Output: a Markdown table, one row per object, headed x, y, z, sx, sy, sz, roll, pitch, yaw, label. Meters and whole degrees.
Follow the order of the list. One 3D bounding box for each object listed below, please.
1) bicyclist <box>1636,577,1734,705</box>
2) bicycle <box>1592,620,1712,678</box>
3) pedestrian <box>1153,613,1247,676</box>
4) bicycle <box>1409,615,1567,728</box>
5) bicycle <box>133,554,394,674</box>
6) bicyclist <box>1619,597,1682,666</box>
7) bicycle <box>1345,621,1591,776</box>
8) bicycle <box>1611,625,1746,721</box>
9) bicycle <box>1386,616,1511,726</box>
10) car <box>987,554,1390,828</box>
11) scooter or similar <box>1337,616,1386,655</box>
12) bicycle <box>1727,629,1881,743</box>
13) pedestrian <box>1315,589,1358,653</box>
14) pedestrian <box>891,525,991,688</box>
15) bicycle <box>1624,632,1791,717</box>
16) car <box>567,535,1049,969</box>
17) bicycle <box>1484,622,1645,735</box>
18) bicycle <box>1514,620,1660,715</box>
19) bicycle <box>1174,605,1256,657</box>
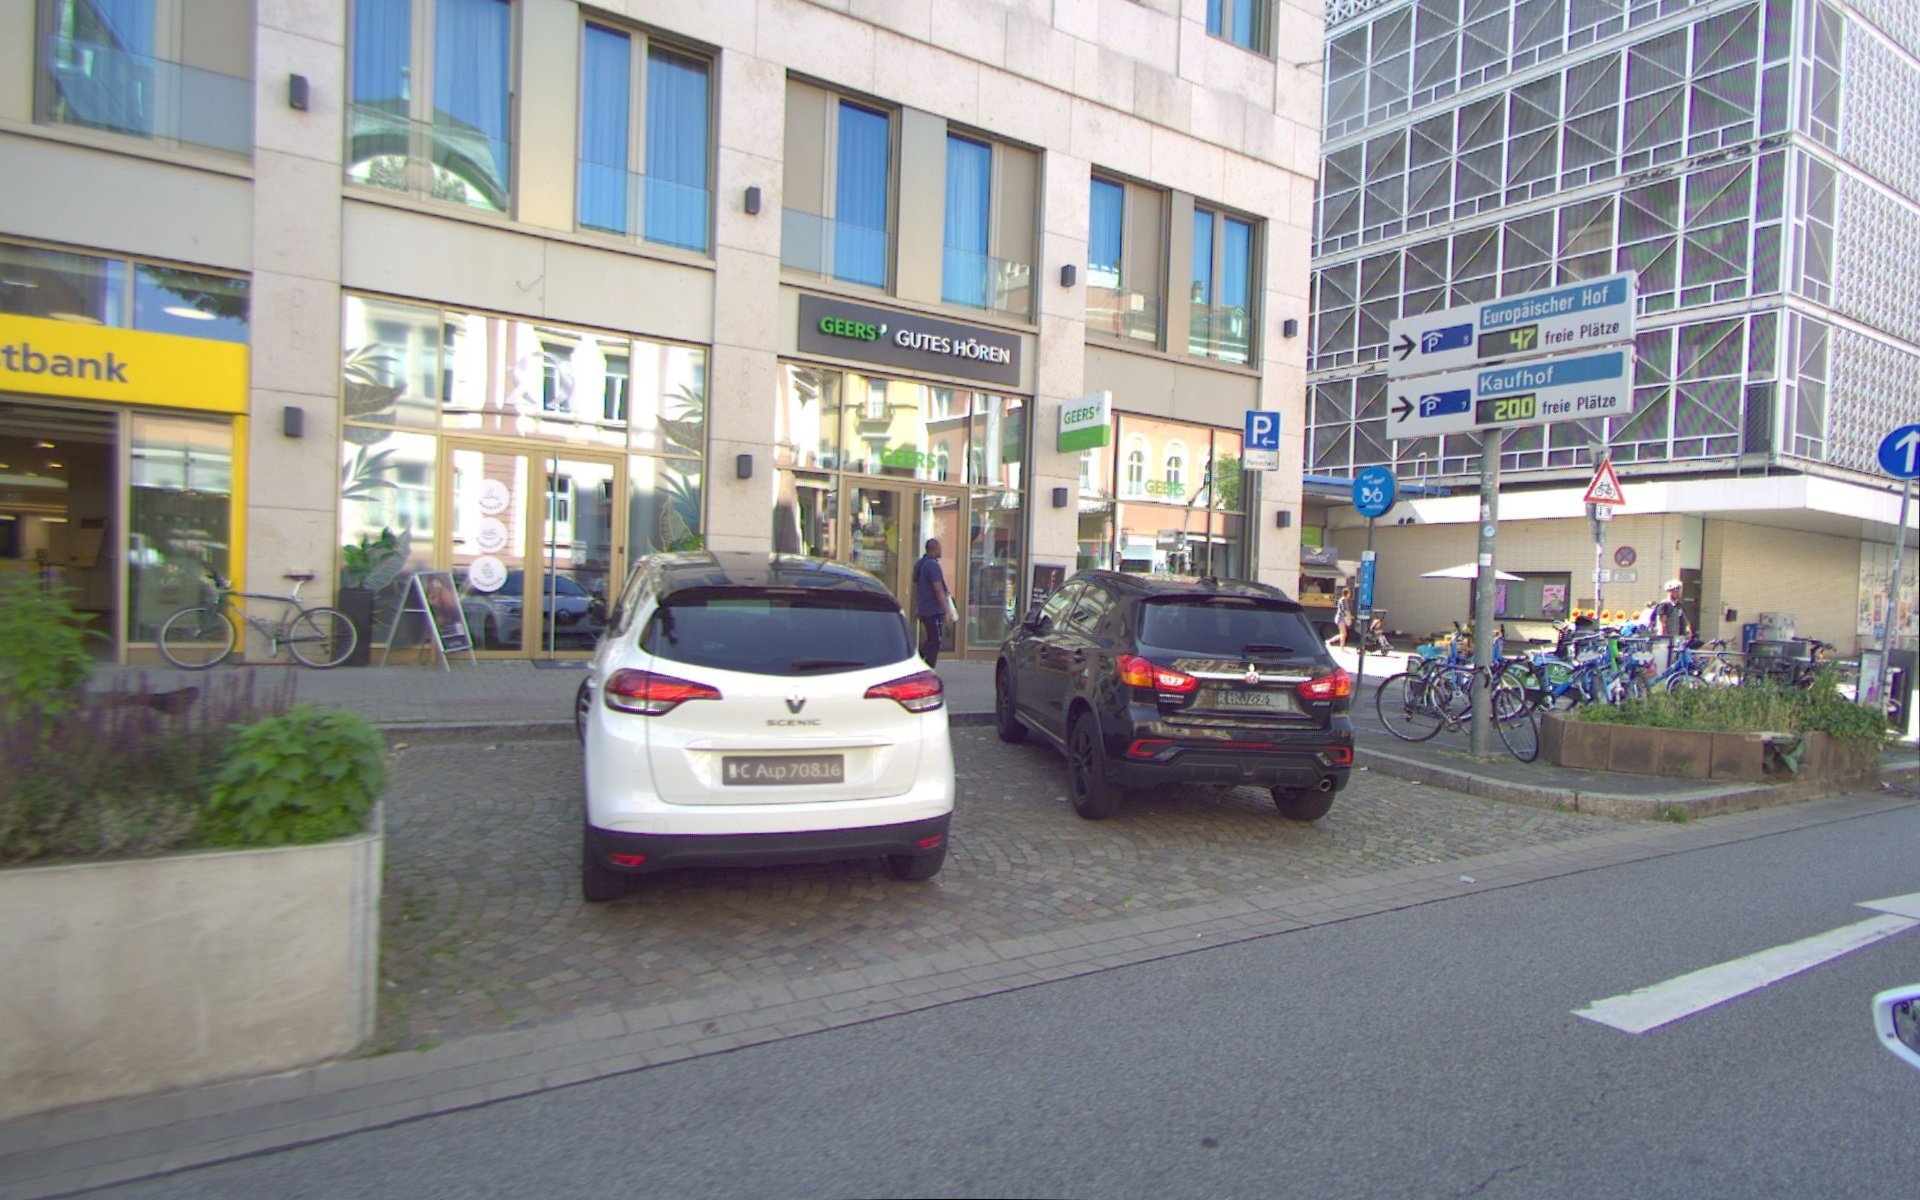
| x | y | z | sx | sy | sz | roll | pitch | yaw | label |
| --- | --- | --- | --- | --- | --- | --- | --- | --- | --- |
| 11.667 | 0.644 | 16.182 | 1.003 | 1.986 | 0.839 | 1 | 1 | -24 | bicyclist |
| 15.994 | 1.122 | 23.285 | 2.168 | 1.284 | 0.736 | 0 | 0 | 20 | bicycle |
| 3.868 | 0.698 | 16.261 | 0.832 | 0.938 | 1.243 | 1 | 1 | -31 | pedestrian |
| 6.590 | 0.844 | 12.706 | 0.551 | 1.142 | 2.327 | 2 | 2 | -4 | bicycle |
| -7.001 | 0.146 | 10.230 | 2.135 | 1.122 | 0.493 | 1 | 3 | -30 | bicycle |
| 15.995 | 0.710 | 23.286 | 1.056 | 1.559 | 0.736 | 0 | 0 | 20 | bicyclist |
| 4.646 | 0.838 | 9.397 | 0.478 | 1.142 | 2.131 | 0 | 3 | -28 | bicycle |
| 9.971 | 0.975 | 14.030 | 0.593 | 1.184 | 2.066 | 2 | 0 | 7 | bicycle |
| 5.995 | 0.834 | 12.455 | 0.475 | 1.142 | 1.865 | 1 | 3 | -4 | bicycle |
| 1.489 | 0.495 | 8.244 | 1.922 | 1.624 | 4.029 | 3 | 2 | -7 | car |
| 10.681 | 0.935 | 26.727 | 0.958 | 0.977 | 0.898 | 3 | 1 | 40 | scooter or similar |
| 10.335 | 1.004 | 12.401 | 0.593 | 1.189 | 2.065 | 3 | 1 | 15 | bicycle |
| 10.188 | 0.547 | 27.172 | 0.832 | 1.681 | 0.837 | 2 | 2 | 41 | pedestrian |
| -0.245 | 0.068 | 12.404 | 0.834 | 1.904 | 0.834 | 1 | 4 | -29 | pedestrian |
| 11.729 | 1.132 | 15.855 | 0.787 | 1.142 | 1.982 | 0 | 1 | -22 | bicycle |
| -1.311 | 0.532 | 6.344 | 2.071 | 1.659 | 4.150 | 2 | 4 | -21 | car |
| 7.375 | 0.915 | 12.391 | 0.551 | 1.142 | 2.062 | 1 | 3 | -4 | bicycle |
| 8.687 | 0.890 | 14.029 | 0.634 | 1.142 | 2.063 | 1 | 1 | -3 | bicycle |
| 6.140 | 0.735 | 24.337 | 0.632 | 1.141 | 2.048 | 5 | -1 | -29 | bicycle |
